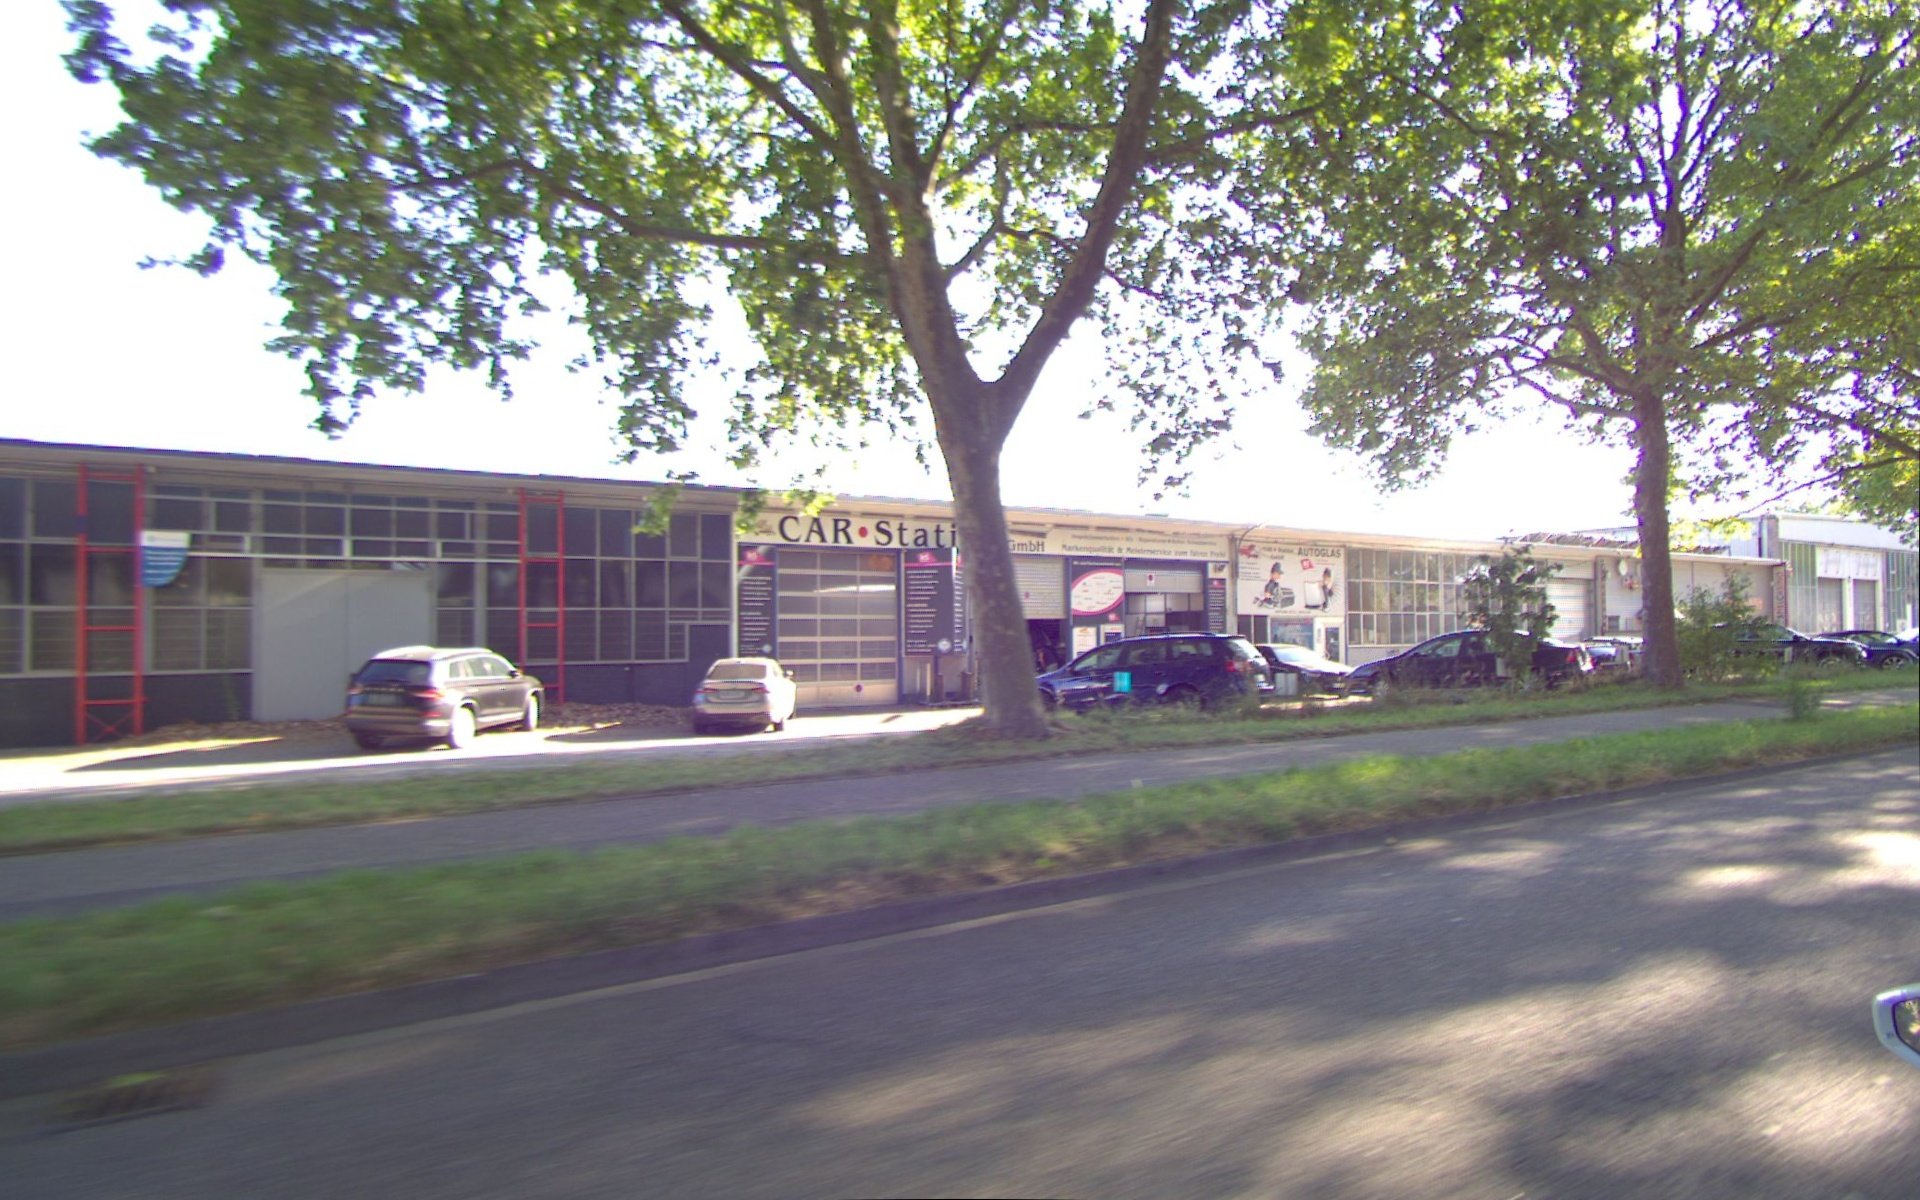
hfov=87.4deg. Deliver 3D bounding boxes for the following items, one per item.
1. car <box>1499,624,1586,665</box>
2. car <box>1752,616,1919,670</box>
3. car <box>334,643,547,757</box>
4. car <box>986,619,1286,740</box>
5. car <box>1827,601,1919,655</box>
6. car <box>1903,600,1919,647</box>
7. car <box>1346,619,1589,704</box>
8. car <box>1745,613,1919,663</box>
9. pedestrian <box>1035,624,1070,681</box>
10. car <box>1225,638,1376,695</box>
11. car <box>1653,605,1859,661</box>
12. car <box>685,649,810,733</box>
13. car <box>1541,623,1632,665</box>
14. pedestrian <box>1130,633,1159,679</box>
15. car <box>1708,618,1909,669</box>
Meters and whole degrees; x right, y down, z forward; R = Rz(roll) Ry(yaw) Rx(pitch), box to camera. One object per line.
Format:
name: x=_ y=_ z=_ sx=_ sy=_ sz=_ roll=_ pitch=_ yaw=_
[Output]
car: x=21.654 y=1.620 z=37.460 sx=1.522 sy=1.403 sz=3.299 roll=0 pitch=0 yaw=5
car: x=26.312 y=1.234 z=29.672 sx=4.180 sy=1.471 sz=1.999 roll=0 pitch=0 yaw=22
car: x=-9.314 y=1.724 z=18.436 sx=1.961 sy=1.728 sz=3.999 roll=0 pitch=0 yaw=-2
car: x=2.984 y=1.257 z=17.569 sx=4.821 sy=1.783 sz=1.993 roll=0 pitch=0 yaw=37
car: x=31.782 y=0.912 z=33.276 sx=4.176 sy=1.722 sz=2.001 roll=0 pitch=0 yaw=14
car: x=35.459 y=0.832 z=34.384 sx=4.176 sy=1.651 sz=2.001 roll=0 pitch=0 yaw=13
car: x=10.553 y=1.199 z=21.014 sx=4.281 sy=1.550 sz=1.993 roll=0 pitch=0 yaw=37
car: x=27.889 y=1.169 z=31.957 sx=4.180 sy=1.471 sz=1.999 roll=0 pitch=0 yaw=22
pedestrian: x=2.820 y=1.578 z=30.679 sx=0.761 sy=1.698 sz=0.789 roll=0 pitch=0 yaw=-30
car: x=9.972 y=1.912 z=29.813 sx=1.969 sy=1.339 sz=4.455 roll=0 pitch=0 yaw=-19
car: x=22.415 y=0.899 z=28.517 sx=4.180 sy=1.471 sz=1.999 roll=0 pitch=0 yaw=22
car: x=-4.425 y=1.855 z=21.497 sx=1.961 sy=1.461 sz=3.999 roll=0 pitch=0 yaw=-2
car: x=23.396 y=1.613 z=37.638 sx=1.674 sy=1.425 sz=3.300 roll=0 pitch=0 yaw=8
pedestrian: x=6.150 y=1.844 z=33.504 sx=0.675 sy=1.492 sz=0.691 roll=0 pitch=0 yaw=-22
car: x=25.286 y=1.252 z=30.144 sx=4.180 sy=1.400 sz=1.999 roll=0 pitch=0 yaw=22
